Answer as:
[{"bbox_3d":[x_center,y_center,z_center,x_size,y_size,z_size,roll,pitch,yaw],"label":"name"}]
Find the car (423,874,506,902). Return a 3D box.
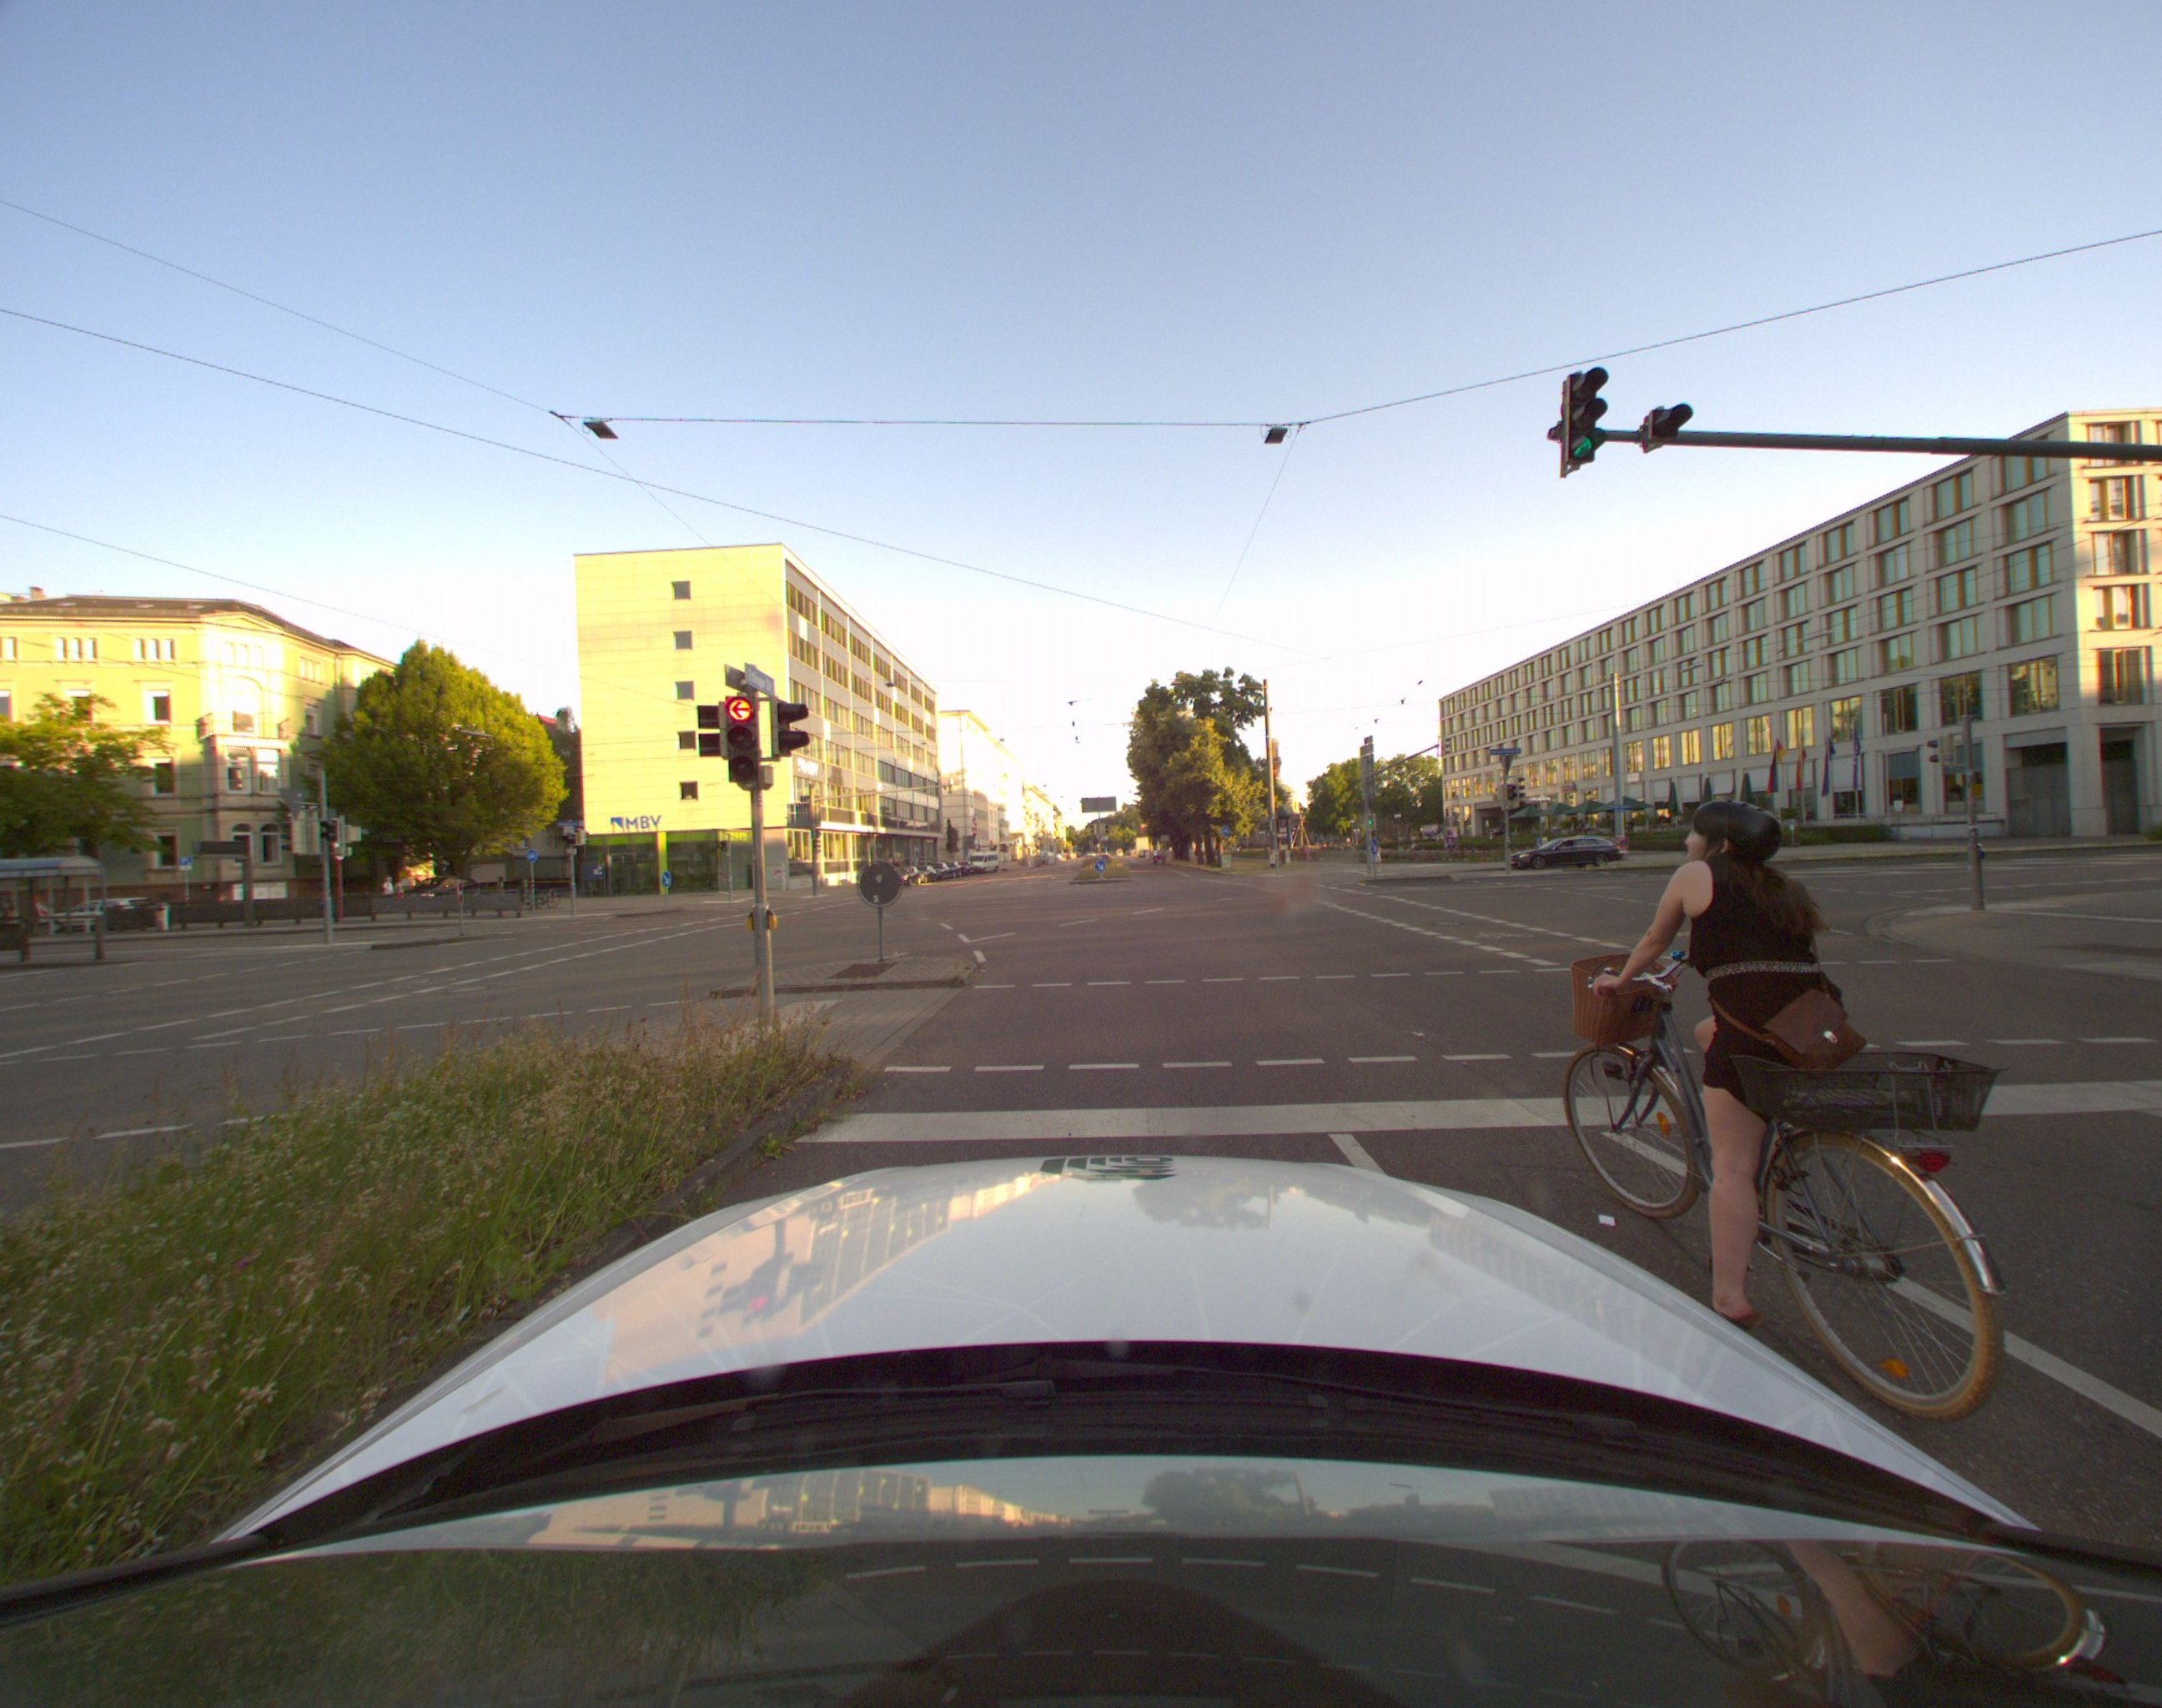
[{"bbox_3d":[-34.841,1.905,46.142,1.830,1.372,3.594,-3,0,0],"label":"car"}]

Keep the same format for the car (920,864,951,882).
[{"bbox_3d":[-13.101,1.684,73.730,1.913,1.464,4.002,-3,0,2],"label":"car"}]

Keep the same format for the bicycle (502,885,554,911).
[{"bbox_3d":[-27.059,2.132,39.876,0.832,1.112,2.216,-3,0,6],"label":"bicycle"}]

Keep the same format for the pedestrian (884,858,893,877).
[{"bbox_3d":[-17.740,1.245,75.026,0.549,1.679,0.500,-3,0,1],"label":"pedestrian"}]

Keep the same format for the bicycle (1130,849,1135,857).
[{"bbox_3d":[13.199,-0.299,208.747,0.997,2.013,4.007,-3,0,6],"label":"bicycle"}]

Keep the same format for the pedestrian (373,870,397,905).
[{"bbox_3d":[-36.523,1.733,42.723,0.641,1.790,0.720,-3,0,-12],"label":"pedestrian"}]

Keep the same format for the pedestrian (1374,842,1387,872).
[{"bbox_3d":[15.852,0.173,43.151,0.489,1.540,0.408,-3,0,1],"label":"pedestrian"}]

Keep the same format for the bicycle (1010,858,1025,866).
[{"bbox_3d":[-10.084,1.291,129.339,2.198,1.236,0.839,-3,0,0],"label":"bicycle"}]

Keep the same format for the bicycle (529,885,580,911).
[{"bbox_3d":[-25.747,2.150,39.855,0.832,1.112,2.216,-3,0,6],"label":"bicycle"}]

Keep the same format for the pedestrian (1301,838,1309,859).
[{"bbox_3d":[17.671,-0.447,64.297,0.458,1.656,0.567,-3,0,1],"label":"pedestrian"}]

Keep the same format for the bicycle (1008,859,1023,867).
[{"bbox_3d":[-10.080,1.324,125.886,2.198,1.112,0.619,-3,0,0],"label":"bicycle"}]

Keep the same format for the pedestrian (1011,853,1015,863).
[{"bbox_3d":[-13.883,0.860,165.401,0.677,2.013,0.545,-3,0,1],"label":"pedestrian"}]

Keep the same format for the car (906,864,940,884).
[{"bbox_3d":[-13.309,1.647,68.917,1.913,1.464,4.002,-3,0,2],"label":"car"}]

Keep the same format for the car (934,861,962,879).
[{"bbox_3d":[-12.848,1.574,79.031,1.913,1.568,4.002,-3,0,2],"label":"car"}]

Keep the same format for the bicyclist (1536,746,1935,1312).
[{"bbox_3d":[2.177,0.509,2.865,0.597,1.636,0.999,-1,0,2],"label":"bicyclist"}]

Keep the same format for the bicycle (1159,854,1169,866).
[{"bbox_3d":[8.684,0.630,85.246,0.744,1.144,2.506,-3,0,2],"label":"bicycle"}]

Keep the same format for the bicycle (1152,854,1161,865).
[{"bbox_3d":[7.839,0.563,85.120,0.744,1.144,2.506,-3,0,2],"label":"bicycle"}]

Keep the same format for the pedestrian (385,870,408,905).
[{"bbox_3d":[-36.545,1.780,43.486,0.641,1.790,0.720,-3,0,-12],"label":"pedestrian"}]

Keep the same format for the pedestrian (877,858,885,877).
[{"bbox_3d":[-18.262,1.243,74.355,0.549,1.679,0.500,-3,0,1],"label":"pedestrian"}]

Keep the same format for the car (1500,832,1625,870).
[{"bbox_3d":[23.100,-0.141,39.217,4.803,1.515,2.002,-3,0,4],"label":"car"}]

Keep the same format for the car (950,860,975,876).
[{"bbox_3d":[-12.380,1.447,85.254,1.913,1.568,4.002,-3,0,2],"label":"car"}]

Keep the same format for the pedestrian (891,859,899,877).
[{"bbox_3d":[-17.138,1.295,75.059,0.498,1.679,0.500,-3,0,1],"label":"pedestrian"}]

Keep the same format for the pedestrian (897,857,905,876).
[{"bbox_3d":[-16.465,1.121,74.385,0.549,1.679,0.500,-3,0,1],"label":"pedestrian"}]

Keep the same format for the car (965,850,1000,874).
[{"bbox_3d":[-11.053,0.867,91.689,1.988,2.478,5.888,-3,0,12],"label":"car"}]

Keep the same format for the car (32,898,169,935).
[{"bbox_3d":[-45.257,2.845,37.673,3.588,1.372,1.833,-3,0,-15],"label":"car"}]

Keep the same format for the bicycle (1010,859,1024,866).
[{"bbox_3d":[-9.998,1.322,127.410,2.198,1.112,0.689,-3,0,0],"label":"bicycle"}]

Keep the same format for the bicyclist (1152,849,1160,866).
[{"bbox_3d":[7.799,0.380,84.876,0.744,1.663,0.873,-3,0,1],"label":"bicyclist"}]

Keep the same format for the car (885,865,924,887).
[{"bbox_3d":[-13.505,1.660,62.420,1.913,1.464,4.105,-3,0,2],"label":"car"}]

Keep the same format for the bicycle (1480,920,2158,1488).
[{"bbox_3d":[2.180,0.884,2.870,0.609,1.132,2.005,-1,0,2],"label":"bicycle"}]

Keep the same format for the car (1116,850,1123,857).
[{"bbox_3d":[8.842,-0.061,187.341,1.403,1.641,4.000,-3,0,1],"label":"car"}]

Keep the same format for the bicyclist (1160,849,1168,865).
[{"bbox_3d":[8.662,0.303,85.165,0.744,1.691,0.799,-3,0,1],"label":"bicyclist"}]
